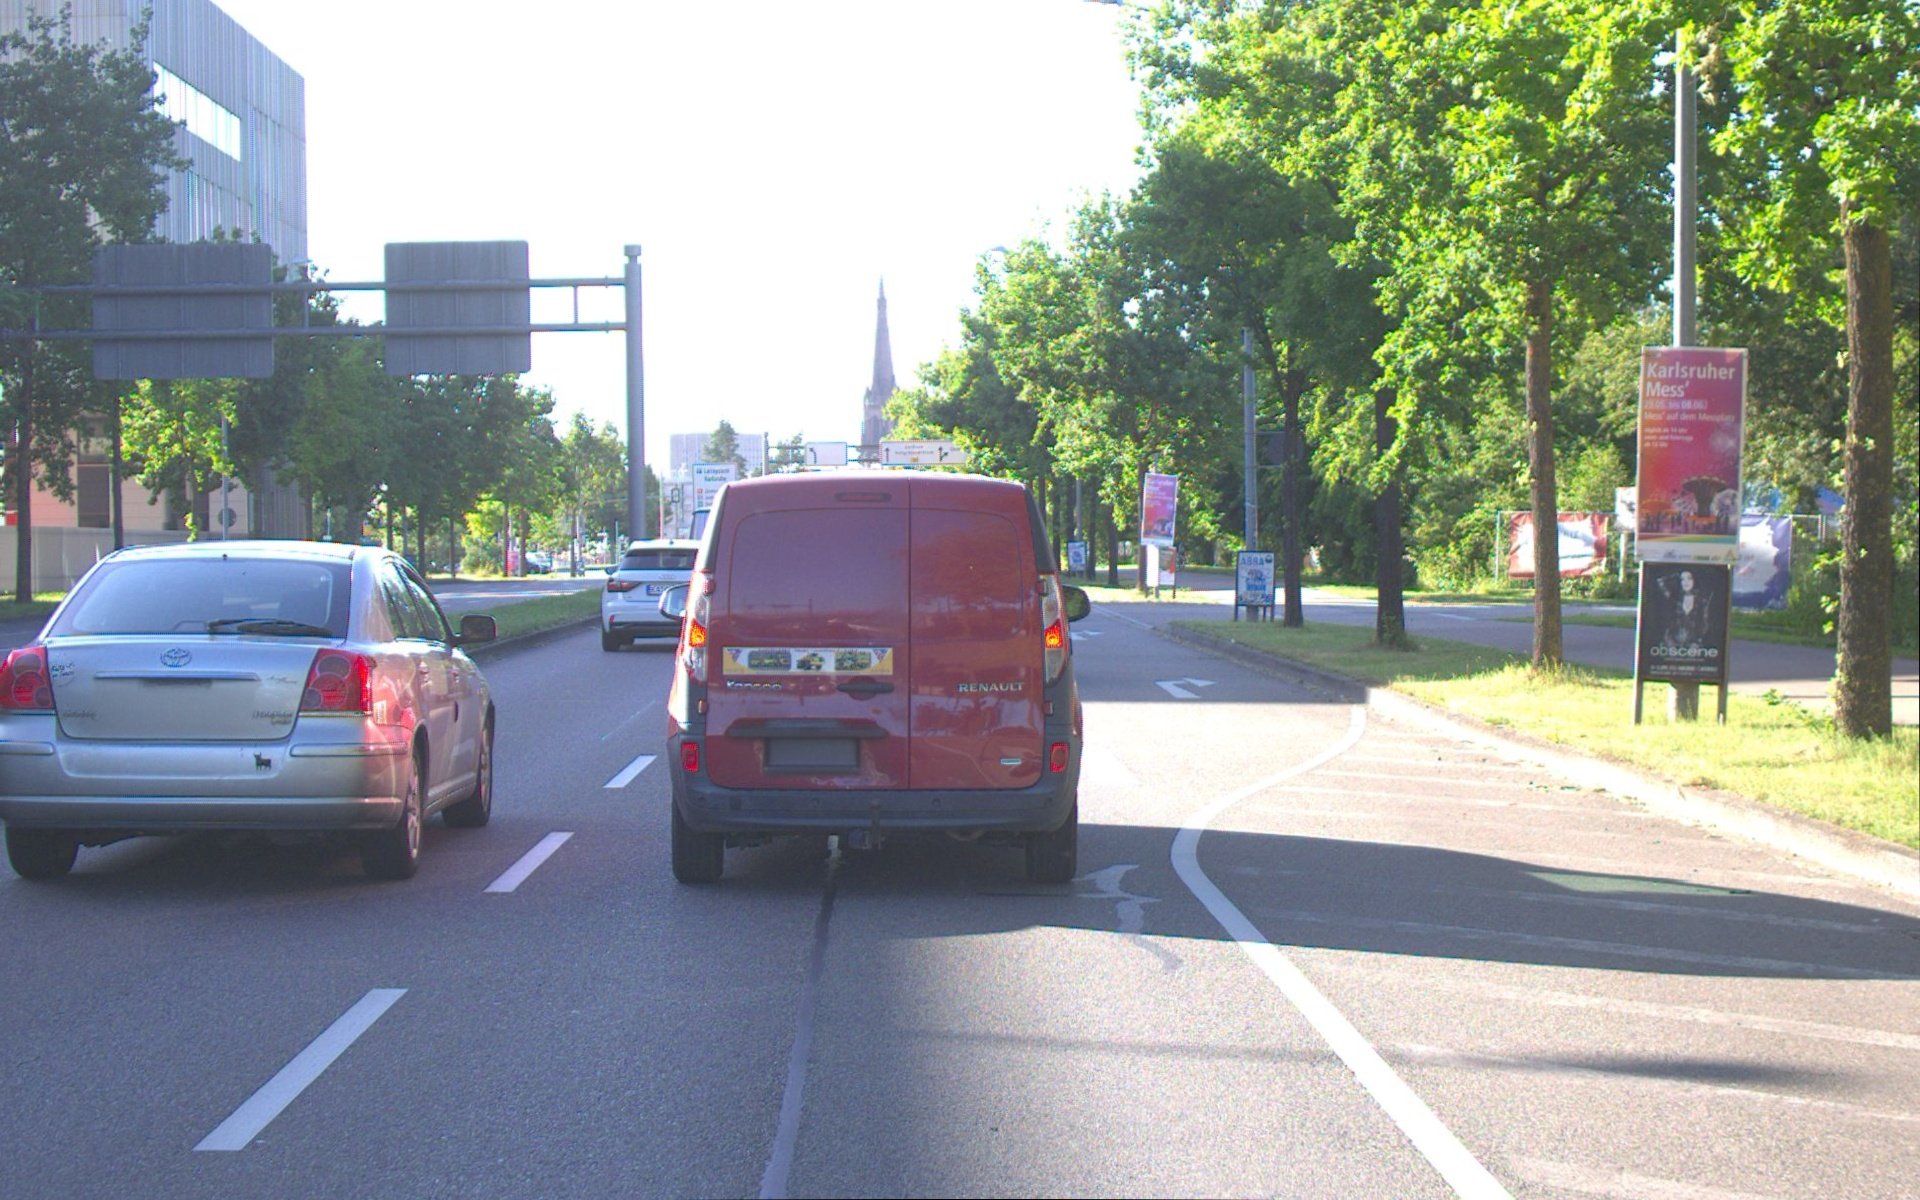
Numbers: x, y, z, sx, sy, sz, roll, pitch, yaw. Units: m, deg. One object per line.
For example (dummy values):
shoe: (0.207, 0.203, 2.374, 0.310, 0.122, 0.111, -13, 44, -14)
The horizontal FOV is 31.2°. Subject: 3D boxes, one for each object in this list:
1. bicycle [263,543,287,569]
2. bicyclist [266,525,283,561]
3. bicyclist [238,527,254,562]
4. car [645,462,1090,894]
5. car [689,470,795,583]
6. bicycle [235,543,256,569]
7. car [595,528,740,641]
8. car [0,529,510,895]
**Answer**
bicycle: (-27.134, -1.737, 136.196, 0.570, 1.000, 2.096, -1, 0, -2)
bicyclist: (-27.136, -2.250, 136.105, 0.562, 1.387, 0.747, -1, 0, -2)
bicyclist: (-28.409, -2.197, 136.773, 0.482, 1.390, 0.844, -1, 0, -2)
car: (-0.430, 0.288, 16.101, 1.806, 1.753, 4.006, 1, 1, -1)
car: (-3.682, -1.249, 58.547, 1.661, 1.850, 3.559, -1, 1, -1)
bicycle: (-28.401, -1.738, 136.689, 0.487, 1.000, 2.096, -1, 0, -2)
car: (-3.768, -0.224, 44.785, 1.661, 1.393, 3.559, -1, 1, -1)
car: (-3.248, 0.411, 15.866, 1.841, 1.451, 4.163, 1, 1, -1)
